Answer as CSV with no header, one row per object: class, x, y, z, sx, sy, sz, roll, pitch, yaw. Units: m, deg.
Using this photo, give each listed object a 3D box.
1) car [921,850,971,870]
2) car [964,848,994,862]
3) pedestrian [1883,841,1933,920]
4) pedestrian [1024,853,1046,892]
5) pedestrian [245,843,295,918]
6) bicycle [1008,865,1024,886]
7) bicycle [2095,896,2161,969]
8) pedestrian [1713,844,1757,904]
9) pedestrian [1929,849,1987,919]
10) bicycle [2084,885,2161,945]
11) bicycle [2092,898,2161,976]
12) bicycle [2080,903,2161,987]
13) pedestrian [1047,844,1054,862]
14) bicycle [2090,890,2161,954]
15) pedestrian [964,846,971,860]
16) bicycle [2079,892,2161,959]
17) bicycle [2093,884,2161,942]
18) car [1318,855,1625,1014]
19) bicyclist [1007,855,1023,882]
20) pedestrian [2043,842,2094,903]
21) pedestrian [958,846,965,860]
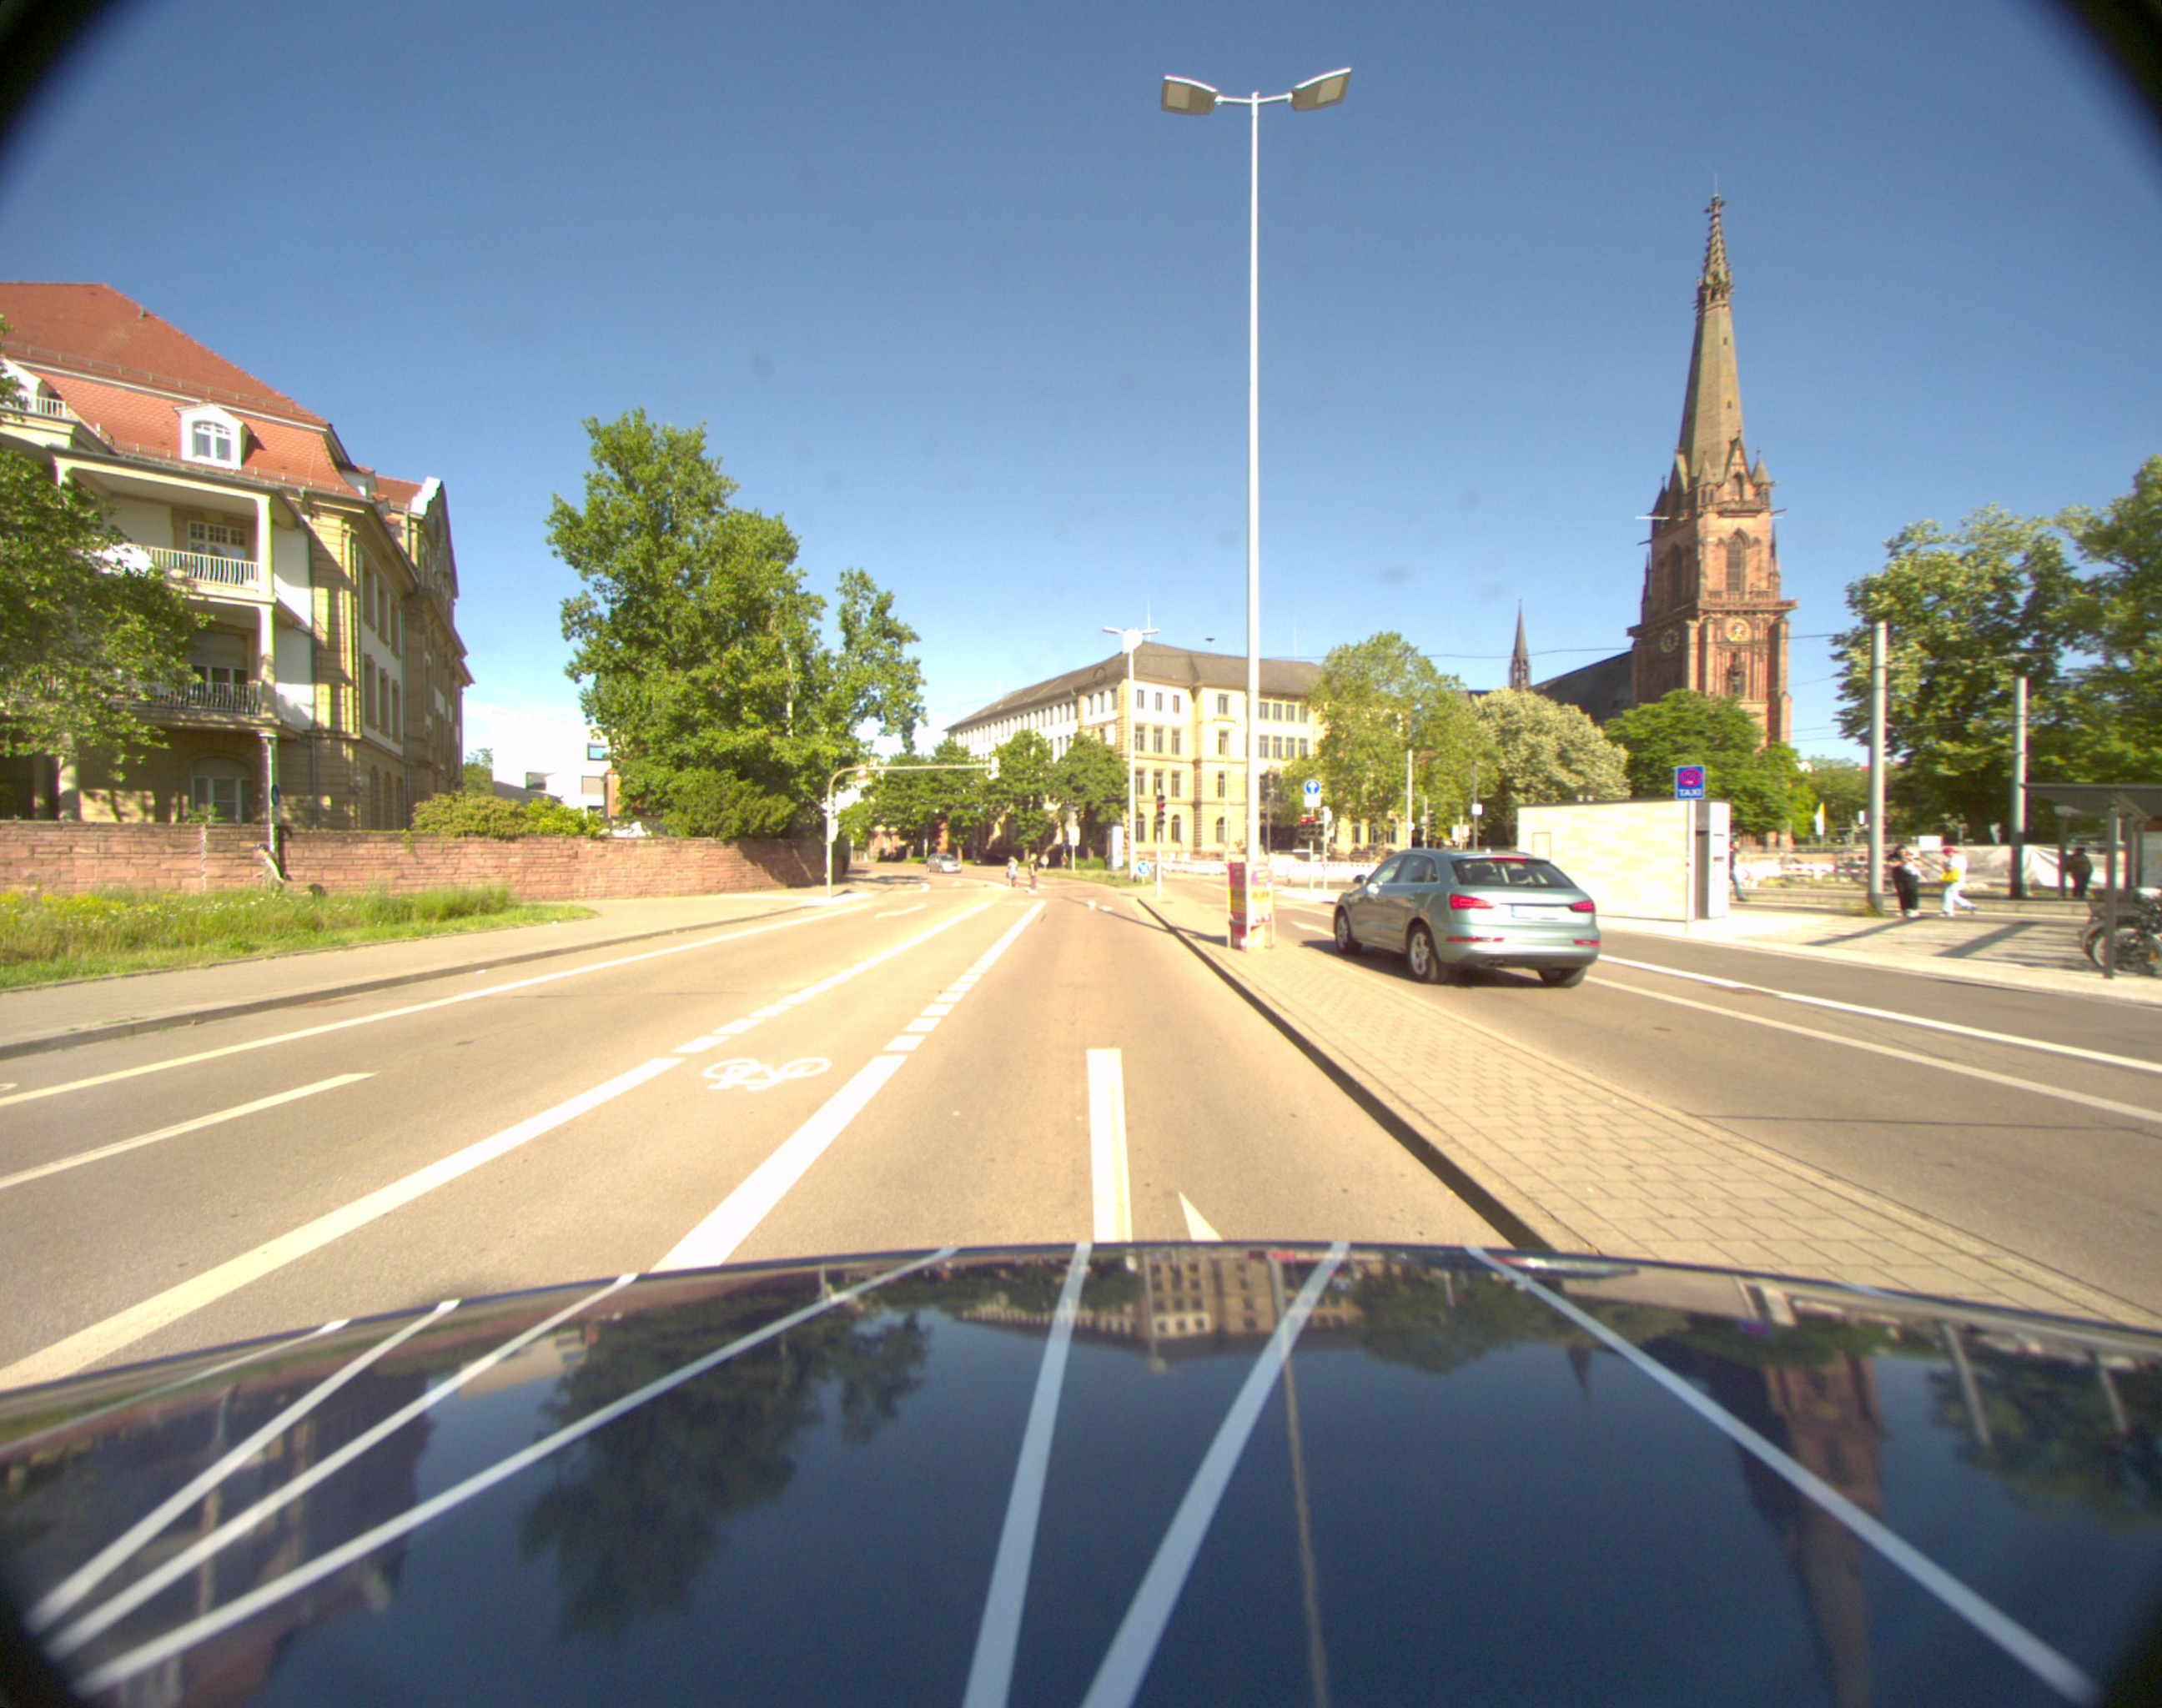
car,-11.463,0.539,64.257,2.003,1.580,4.839,-3,1,-39
car,-12.205,0.139,90.480,1.839,1.587,3.989,-1,1,-37
pedestrian,19.640,0.612,18.049,0.703,1.849,0.619,-1,1,-26
pedestrian,-1.979,0.786,32.696,0.932,1.657,0.630,0,1,-4
pedestrian,-20.506,0.657,19.229,0.789,1.847,0.628,-1,1,-43
bicycle,-3.427,1.120,39.730,0.741,0.989,2.305,-2,1,-6
bicycle,16.128,1.183,10.998,0.407,0.993,1.678,-3,3,-33
pedestrian,19.124,0.566,22.224,0.622,1.717,0.831,-1,1,-36
pedestrian,20.678,0.697,17.927,0.621,1.613,0.701,-1,1,-19
bicycle,19.027,1.085,13.336,0.407,0.993,1.679,-3,2,-33
bicycle,15.029,1.167,10.207,0.407,0.993,1.678,-3,3,-33
bicycle,13.984,1.189,9.550,0.407,0.993,1.678,-3,3,-33
pedestrian,-3.442,-0.093,85.980,0.557,2.002,0.645,-1,1,-37
bicycle,17.964,1.138,12.458,0.407,0.993,1.679,-3,2,-33
pedestrian,-15.400,-0.087,103.341,0.578,1.893,0.849,-1,1,-36
bicycle,17.184,1.142,12.011,0.407,0.993,1.679,-3,2,-33
bicycle,19.513,1.065,13.578,0.407,0.993,1.679,-3,2,-33
car,4.666,0.828,9.923,1.792,1.572,4.257,1,0,0
bicyclist,-3.445,0.752,39.711,0.741,1.363,0.626,-2,1,-6
pedestrian,30.500,0.556,23.478,0.619,1.849,0.703,0,1,11
pedestrian,-16.178,-0.187,102.719,0.578,1.893,0.781,-1,1,-36
